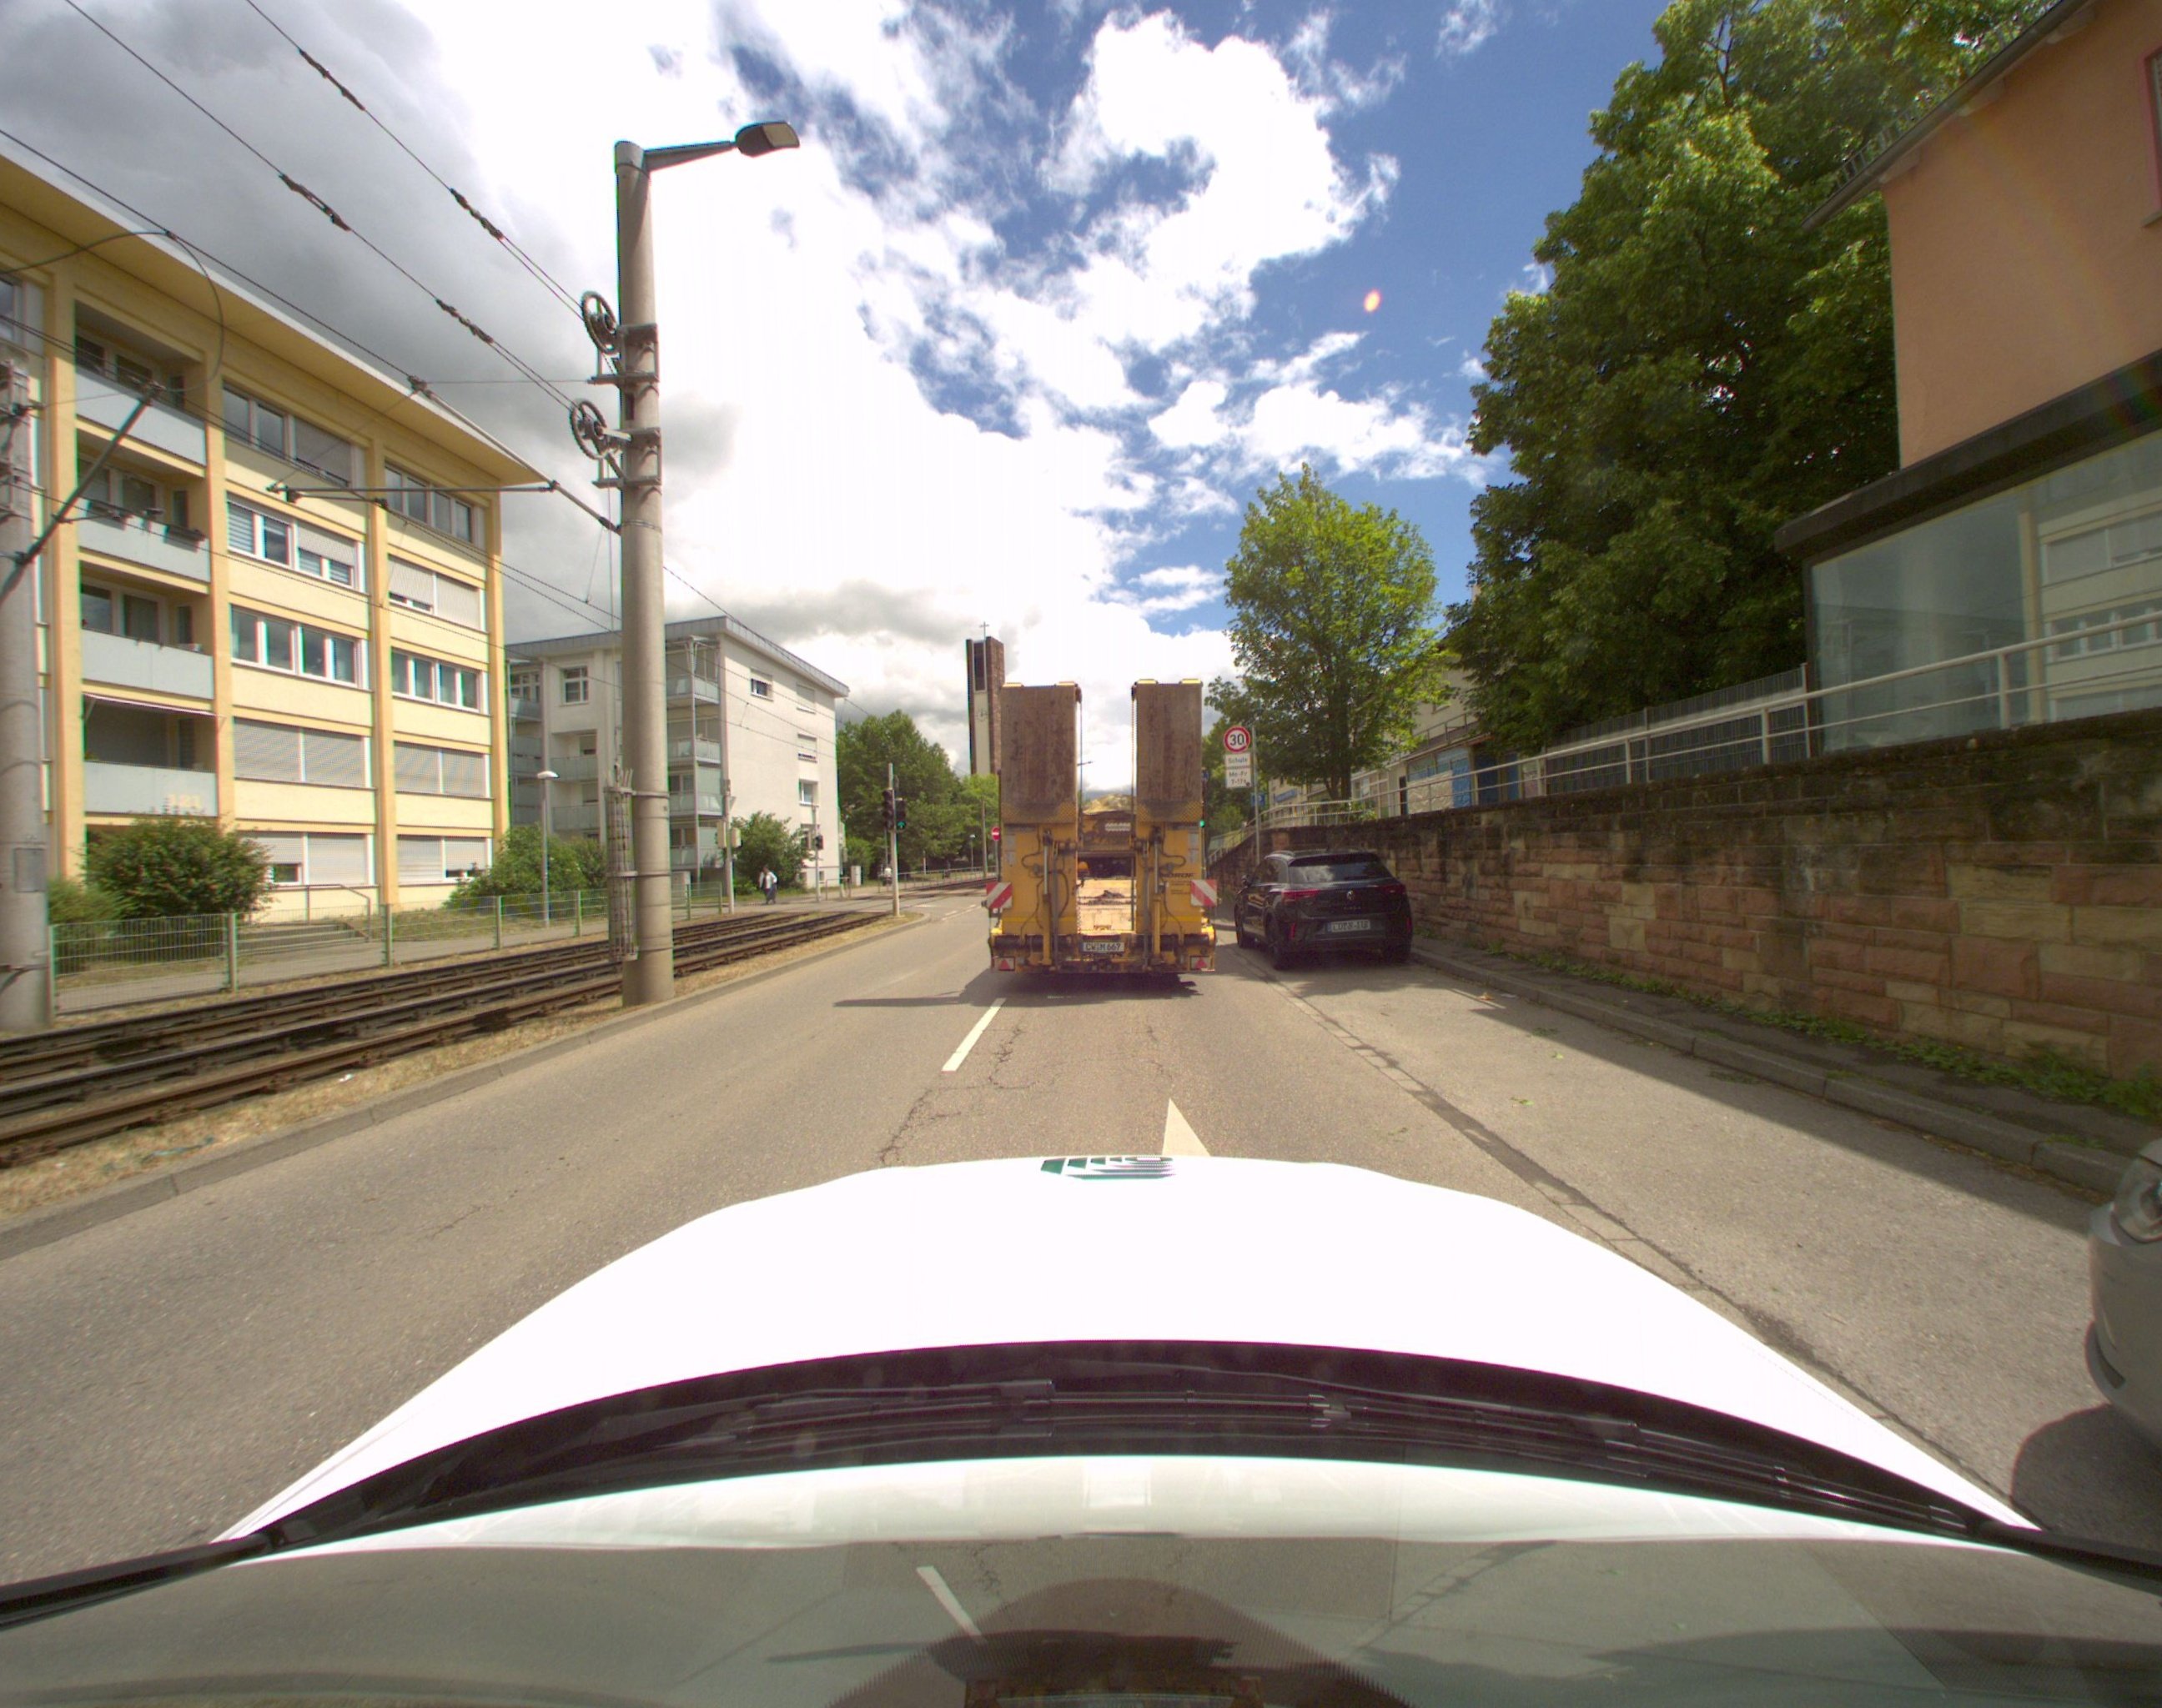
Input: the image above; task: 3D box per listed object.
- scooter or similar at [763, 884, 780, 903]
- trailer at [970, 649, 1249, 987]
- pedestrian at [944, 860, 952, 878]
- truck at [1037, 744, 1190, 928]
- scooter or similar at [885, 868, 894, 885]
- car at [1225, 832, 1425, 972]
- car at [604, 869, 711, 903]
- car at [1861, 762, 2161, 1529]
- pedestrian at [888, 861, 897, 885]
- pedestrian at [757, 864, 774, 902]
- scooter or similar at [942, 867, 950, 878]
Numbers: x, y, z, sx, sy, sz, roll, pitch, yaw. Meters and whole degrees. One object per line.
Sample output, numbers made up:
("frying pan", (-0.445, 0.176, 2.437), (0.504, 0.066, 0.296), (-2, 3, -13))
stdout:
("scooter or similar", (-12.891, 1.635, 33.924), (0.435, 0.747, 0.475), (-2, 0, 7))
("trailer", (0.513, -0.378, 13.245), (2.933, 3.601, 8.689), (-2, 0, 3))
("pedestrian", (-11.441, 1.309, 70.009), (0.562, 1.514, 0.646), (0, -1, 1))
("truck", (0.763, -0.358, 18.684), (2.931, 3.572, 4.880), (-2, 0, 2))
("scooter or similar", (-12.381, 1.467, 52.548), (0.336, 1.058, 0.688), (-2, 0, 5))
("car", (3.370, 0.604, 12.074), (1.843, 1.639, 4.003), (-3, 0, 3))
("car", (-19.382, 1.455, 37.326), (3.963, 1.346, 1.906), (-2, 0, 9))
("car", (3.110, 0.567, 0.180), (1.783, 1.618, 4.249), (-3, 0, 1))
("pedestrian", (-12.326, 1.257, 53.180), (0.346, 1.537, 0.558), (-2, -1, 5))
("pedestrian", (-13.273, 1.232, 34.287), (0.435, 1.581, 0.475), (-2, 0, 7))
("scooter or similar", (-11.485, 1.570, 69.352), (0.504, 0.971, 0.646), (0, 0, 1))
